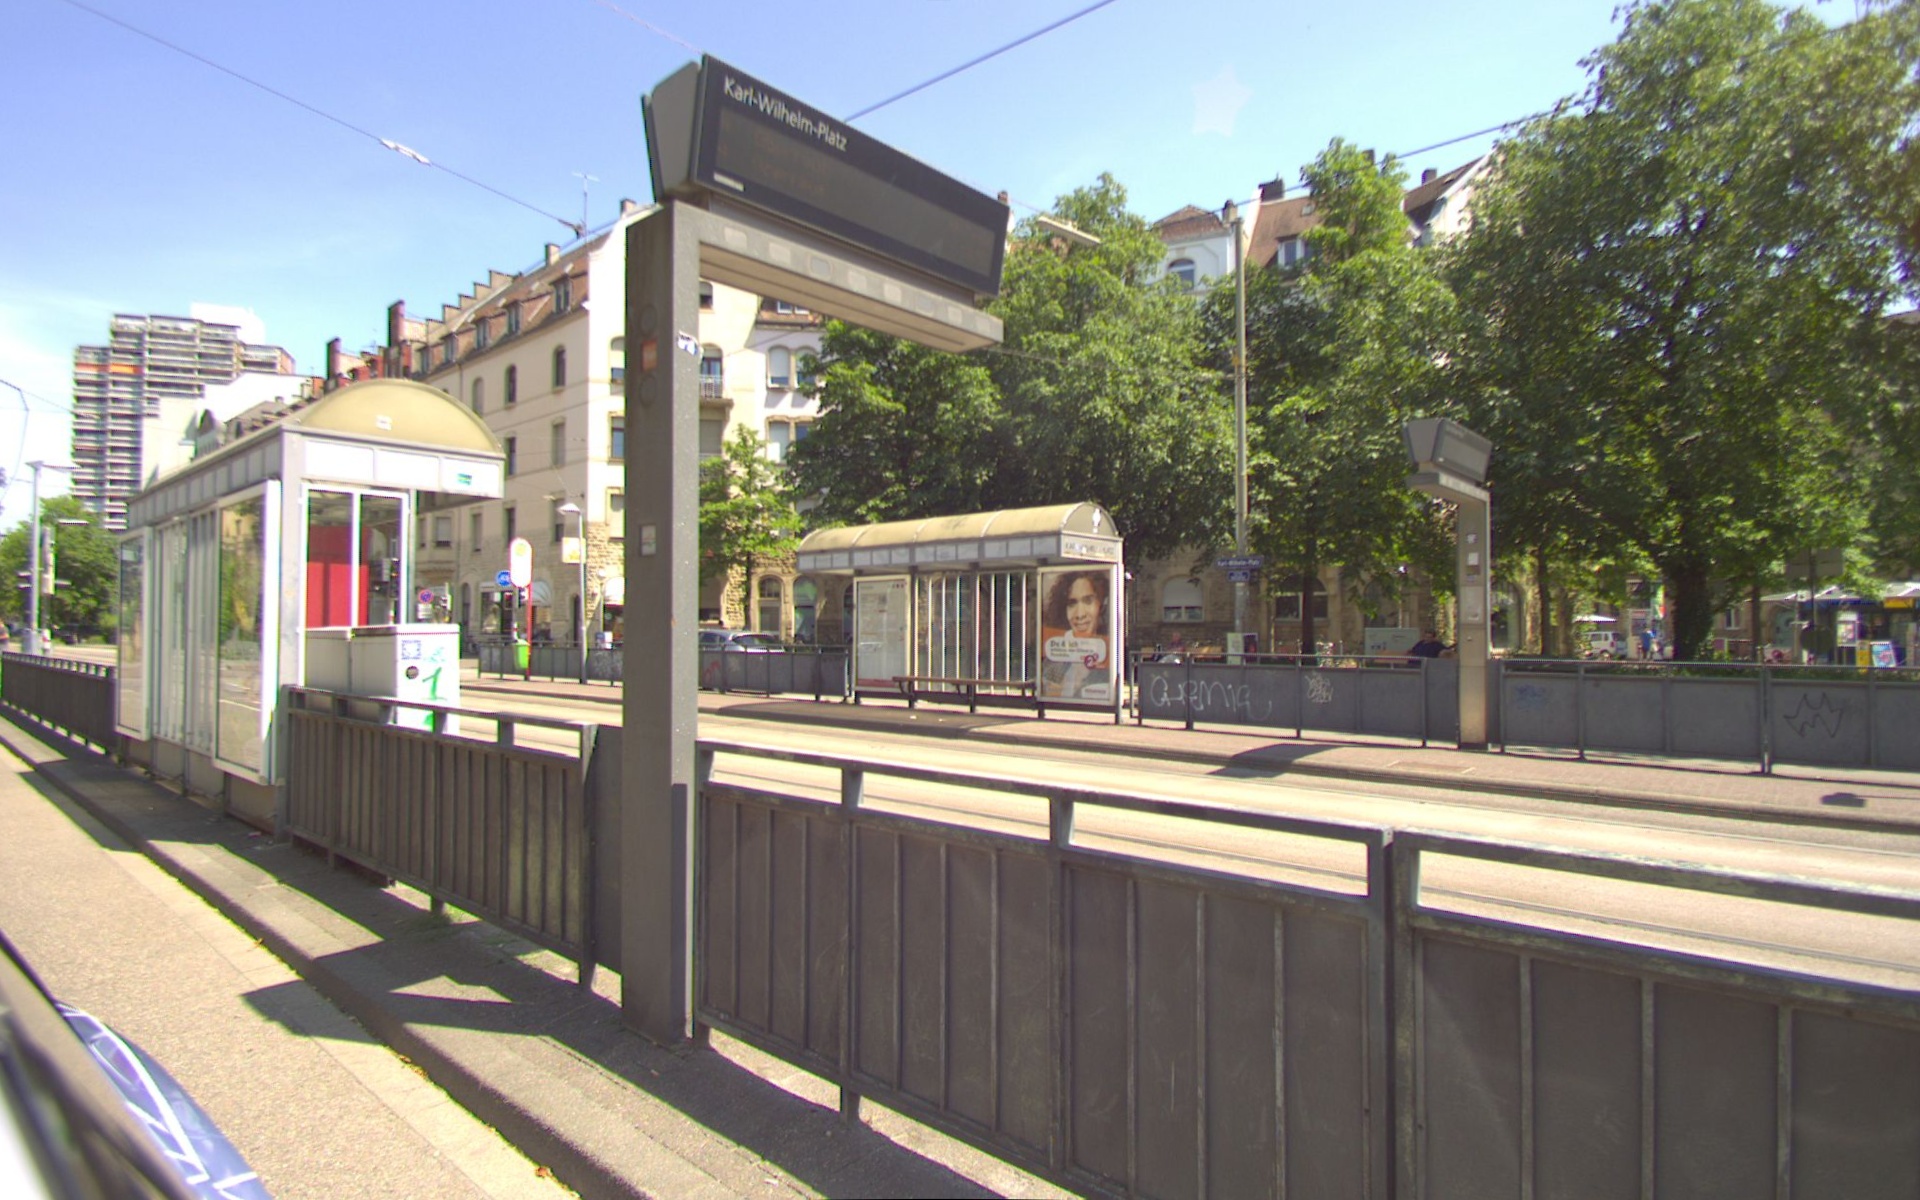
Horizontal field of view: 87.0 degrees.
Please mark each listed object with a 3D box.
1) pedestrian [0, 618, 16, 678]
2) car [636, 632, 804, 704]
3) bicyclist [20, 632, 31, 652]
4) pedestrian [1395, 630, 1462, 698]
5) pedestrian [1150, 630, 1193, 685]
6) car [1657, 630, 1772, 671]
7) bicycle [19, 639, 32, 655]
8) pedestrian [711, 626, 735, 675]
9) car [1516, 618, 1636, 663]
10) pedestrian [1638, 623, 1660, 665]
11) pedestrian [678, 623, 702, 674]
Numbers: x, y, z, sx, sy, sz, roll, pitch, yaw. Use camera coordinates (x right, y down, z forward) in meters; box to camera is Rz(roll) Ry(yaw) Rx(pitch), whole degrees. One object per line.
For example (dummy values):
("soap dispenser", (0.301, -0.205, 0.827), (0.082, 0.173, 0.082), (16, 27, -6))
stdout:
("pedestrian", (-29.846, 1.481, 31.365), (0.826, 1.838, 0.674), (2, -3, -44))
("car", (-5.600, 1.495, 23.362), (3.998, 1.404, 1.789), (-1, 0, 41))
("bicyclist", (-91.285, 4.089, 98.859), (0.715, 1.889, 0.636), (-1, 0, 39))
("pedestrian", (9.281, 1.244, 20.041), (0.852, 1.253, 0.939), (-1, 0, -43))
("pedestrian", (5.091, 1.362, 24.316), (0.930, 1.253, 0.860), (-1, 0, 17))
("car", (35.786, 2.359, 48.103), (1.736, 1.721, 3.998), (-1, 0, -33))
("bicycle", (-91.278, 4.594, 98.869), (1.969, 1.524, 0.636), (-1, 0, 39))
("pedestrian", (-7.620, 1.611, 32.532), (0.473, 1.563, 0.586), (-2, -3, 39))
("car", (26.717, 1.714, 44.011), (1.966, 1.803, 4.011), (-1, 0, -33))
("pedestrian", (27.386, 1.745, 40.226), (0.483, 1.683, 0.517), (1, -2, -27))
("pedestrian", (-8.823, 1.580, 33.060), (0.473, 1.659, 0.586), (-2, -3, 41))
